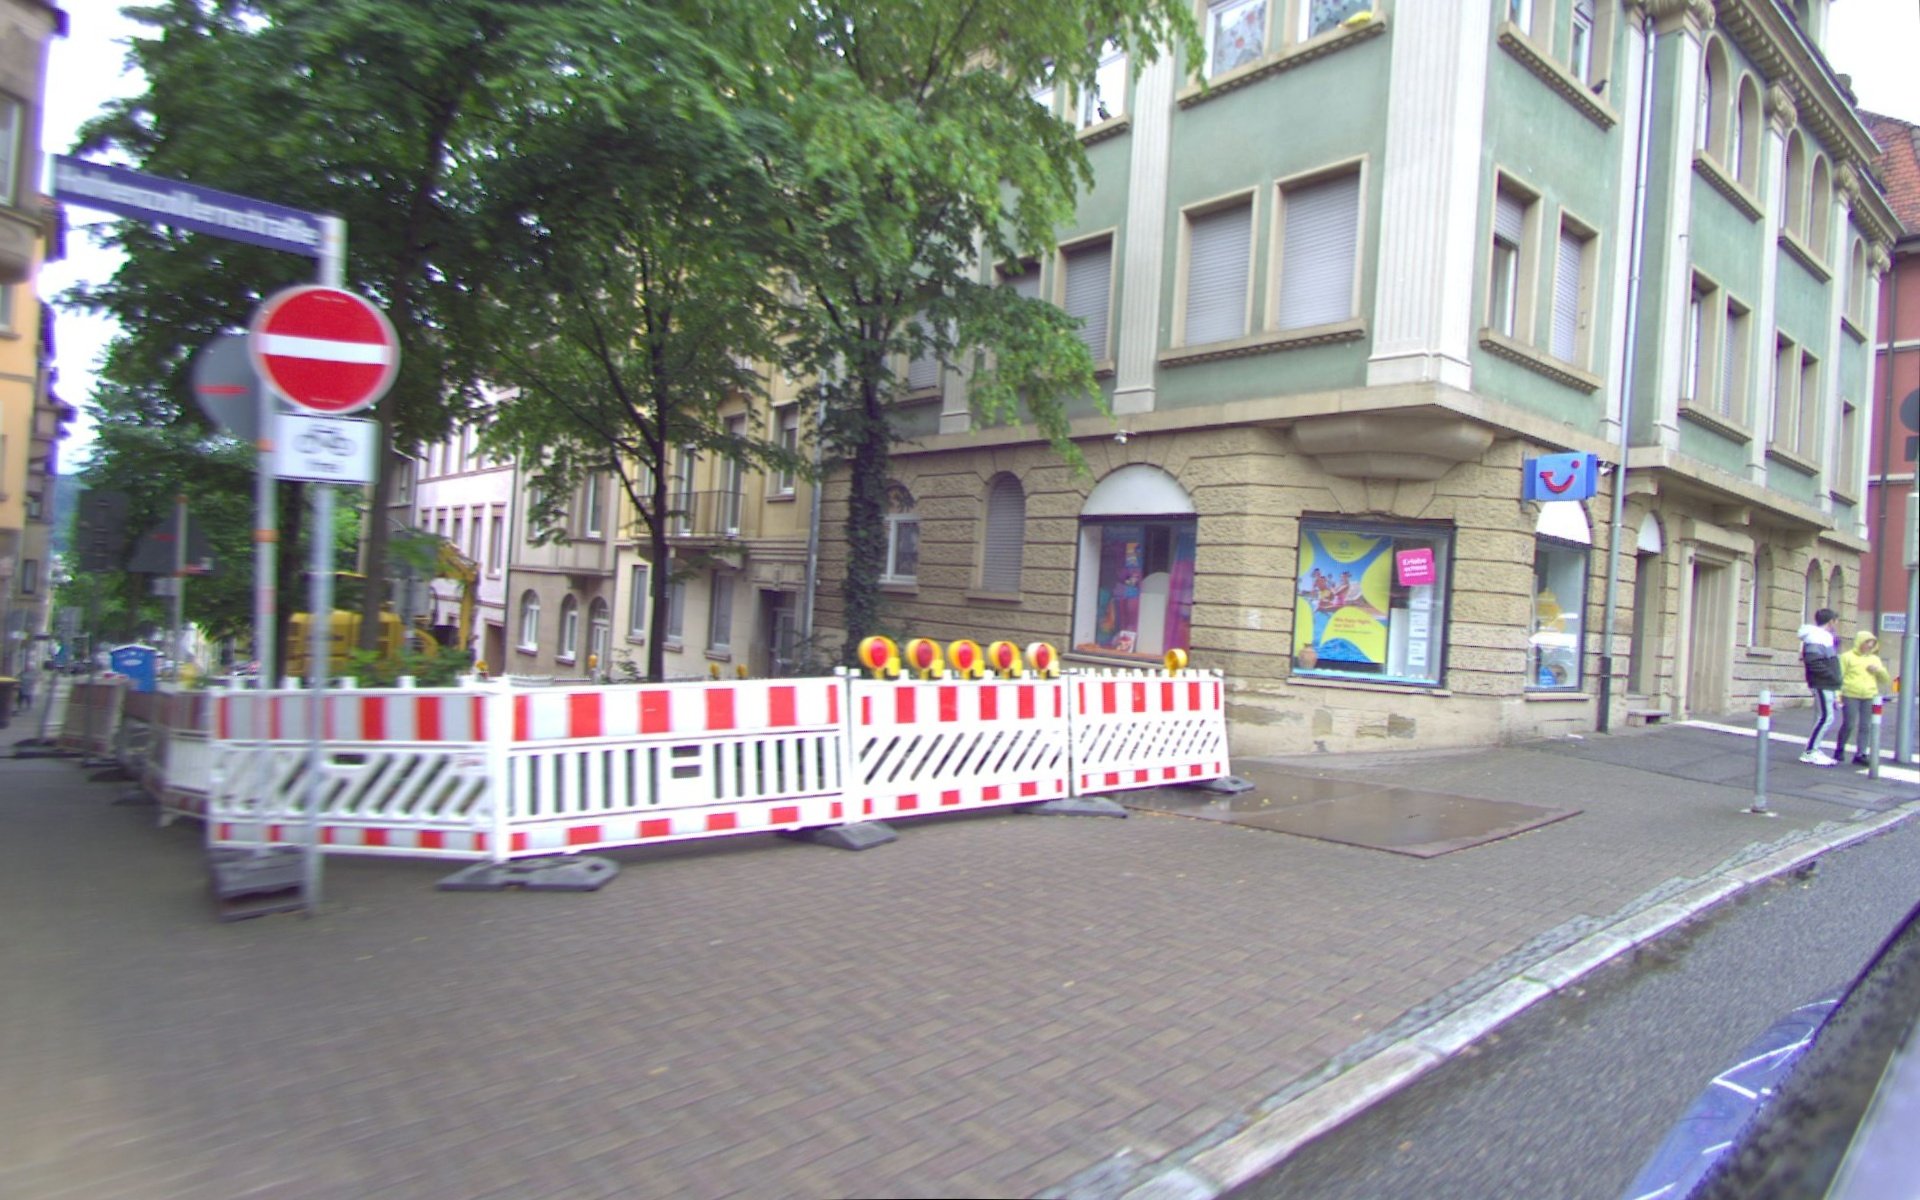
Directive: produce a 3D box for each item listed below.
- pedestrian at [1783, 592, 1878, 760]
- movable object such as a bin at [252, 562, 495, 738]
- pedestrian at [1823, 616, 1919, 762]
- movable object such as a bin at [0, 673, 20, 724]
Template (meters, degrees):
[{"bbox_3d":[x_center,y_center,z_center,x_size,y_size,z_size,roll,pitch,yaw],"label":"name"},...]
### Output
[{"bbox_3d":[9.924,0.838,11.535,0.664,1.796,0.708,5,2,45],"label":"pedestrian"},{"bbox_3d":[-11.148,0.885,19.661,2.465,3.001,4.002,2,-1,-3],"label":"movable object such as a bin"},{"bbox_3d":[10.700,1.018,11.892,0.593,1.604,0.659,5,1,27],"label":"pedestrian"},{"bbox_3d":[-20.493,2.084,21.482,0.627,1.021,0.676,2,-1,-33],"label":"movable object such as a bin"}]
